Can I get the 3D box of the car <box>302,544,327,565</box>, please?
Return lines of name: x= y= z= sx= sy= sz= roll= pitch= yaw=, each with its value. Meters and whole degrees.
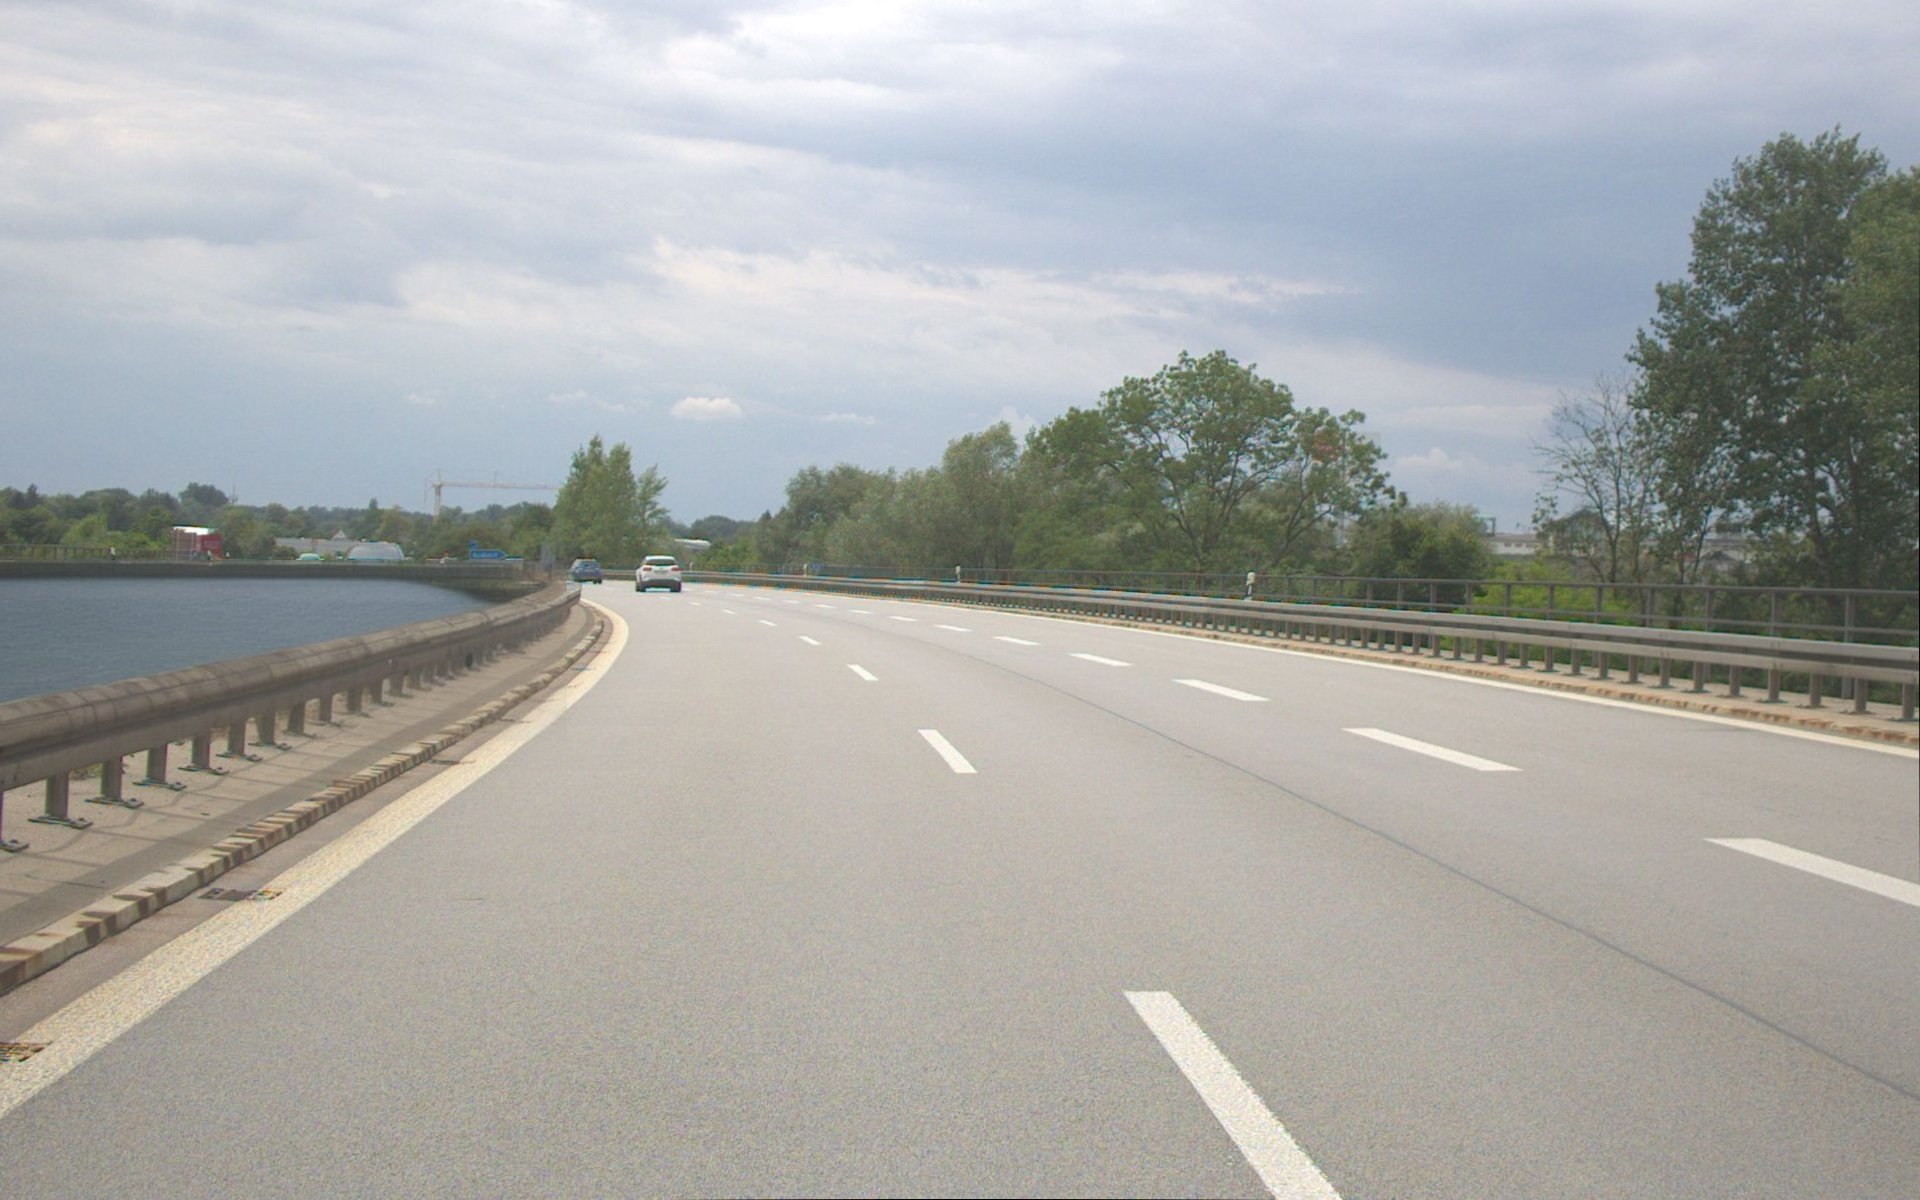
car: x=-45.927 y=-3.242 z=244.699 sx=1.531 sy=1.402 sz=4.330 roll=2 pitch=1 yaw=-8

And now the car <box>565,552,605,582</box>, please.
car: x=-22.102 y=-1.947 z=202.697 sx=1.892 sy=1.634 sz=4.623 roll=2 pitch=1 yaw=-11

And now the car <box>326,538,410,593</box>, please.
car: x=-15.732 y=-0.933 z=91.496 sx=1.772 sy=1.382 sz=4.388 roll=2 pitch=1 yaw=-4

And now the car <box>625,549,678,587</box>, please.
car: x=-14.098 y=-1.478 z=157.094 sx=1.902 sy=1.634 sz=4.397 roll=2 pitch=0 yaw=-11

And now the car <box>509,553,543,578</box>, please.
car: x=-30.720 y=-2.461 z=243.410 sx=1.902 sy=1.634 sz=4.781 roll=1 pitch=1 yaw=-13
